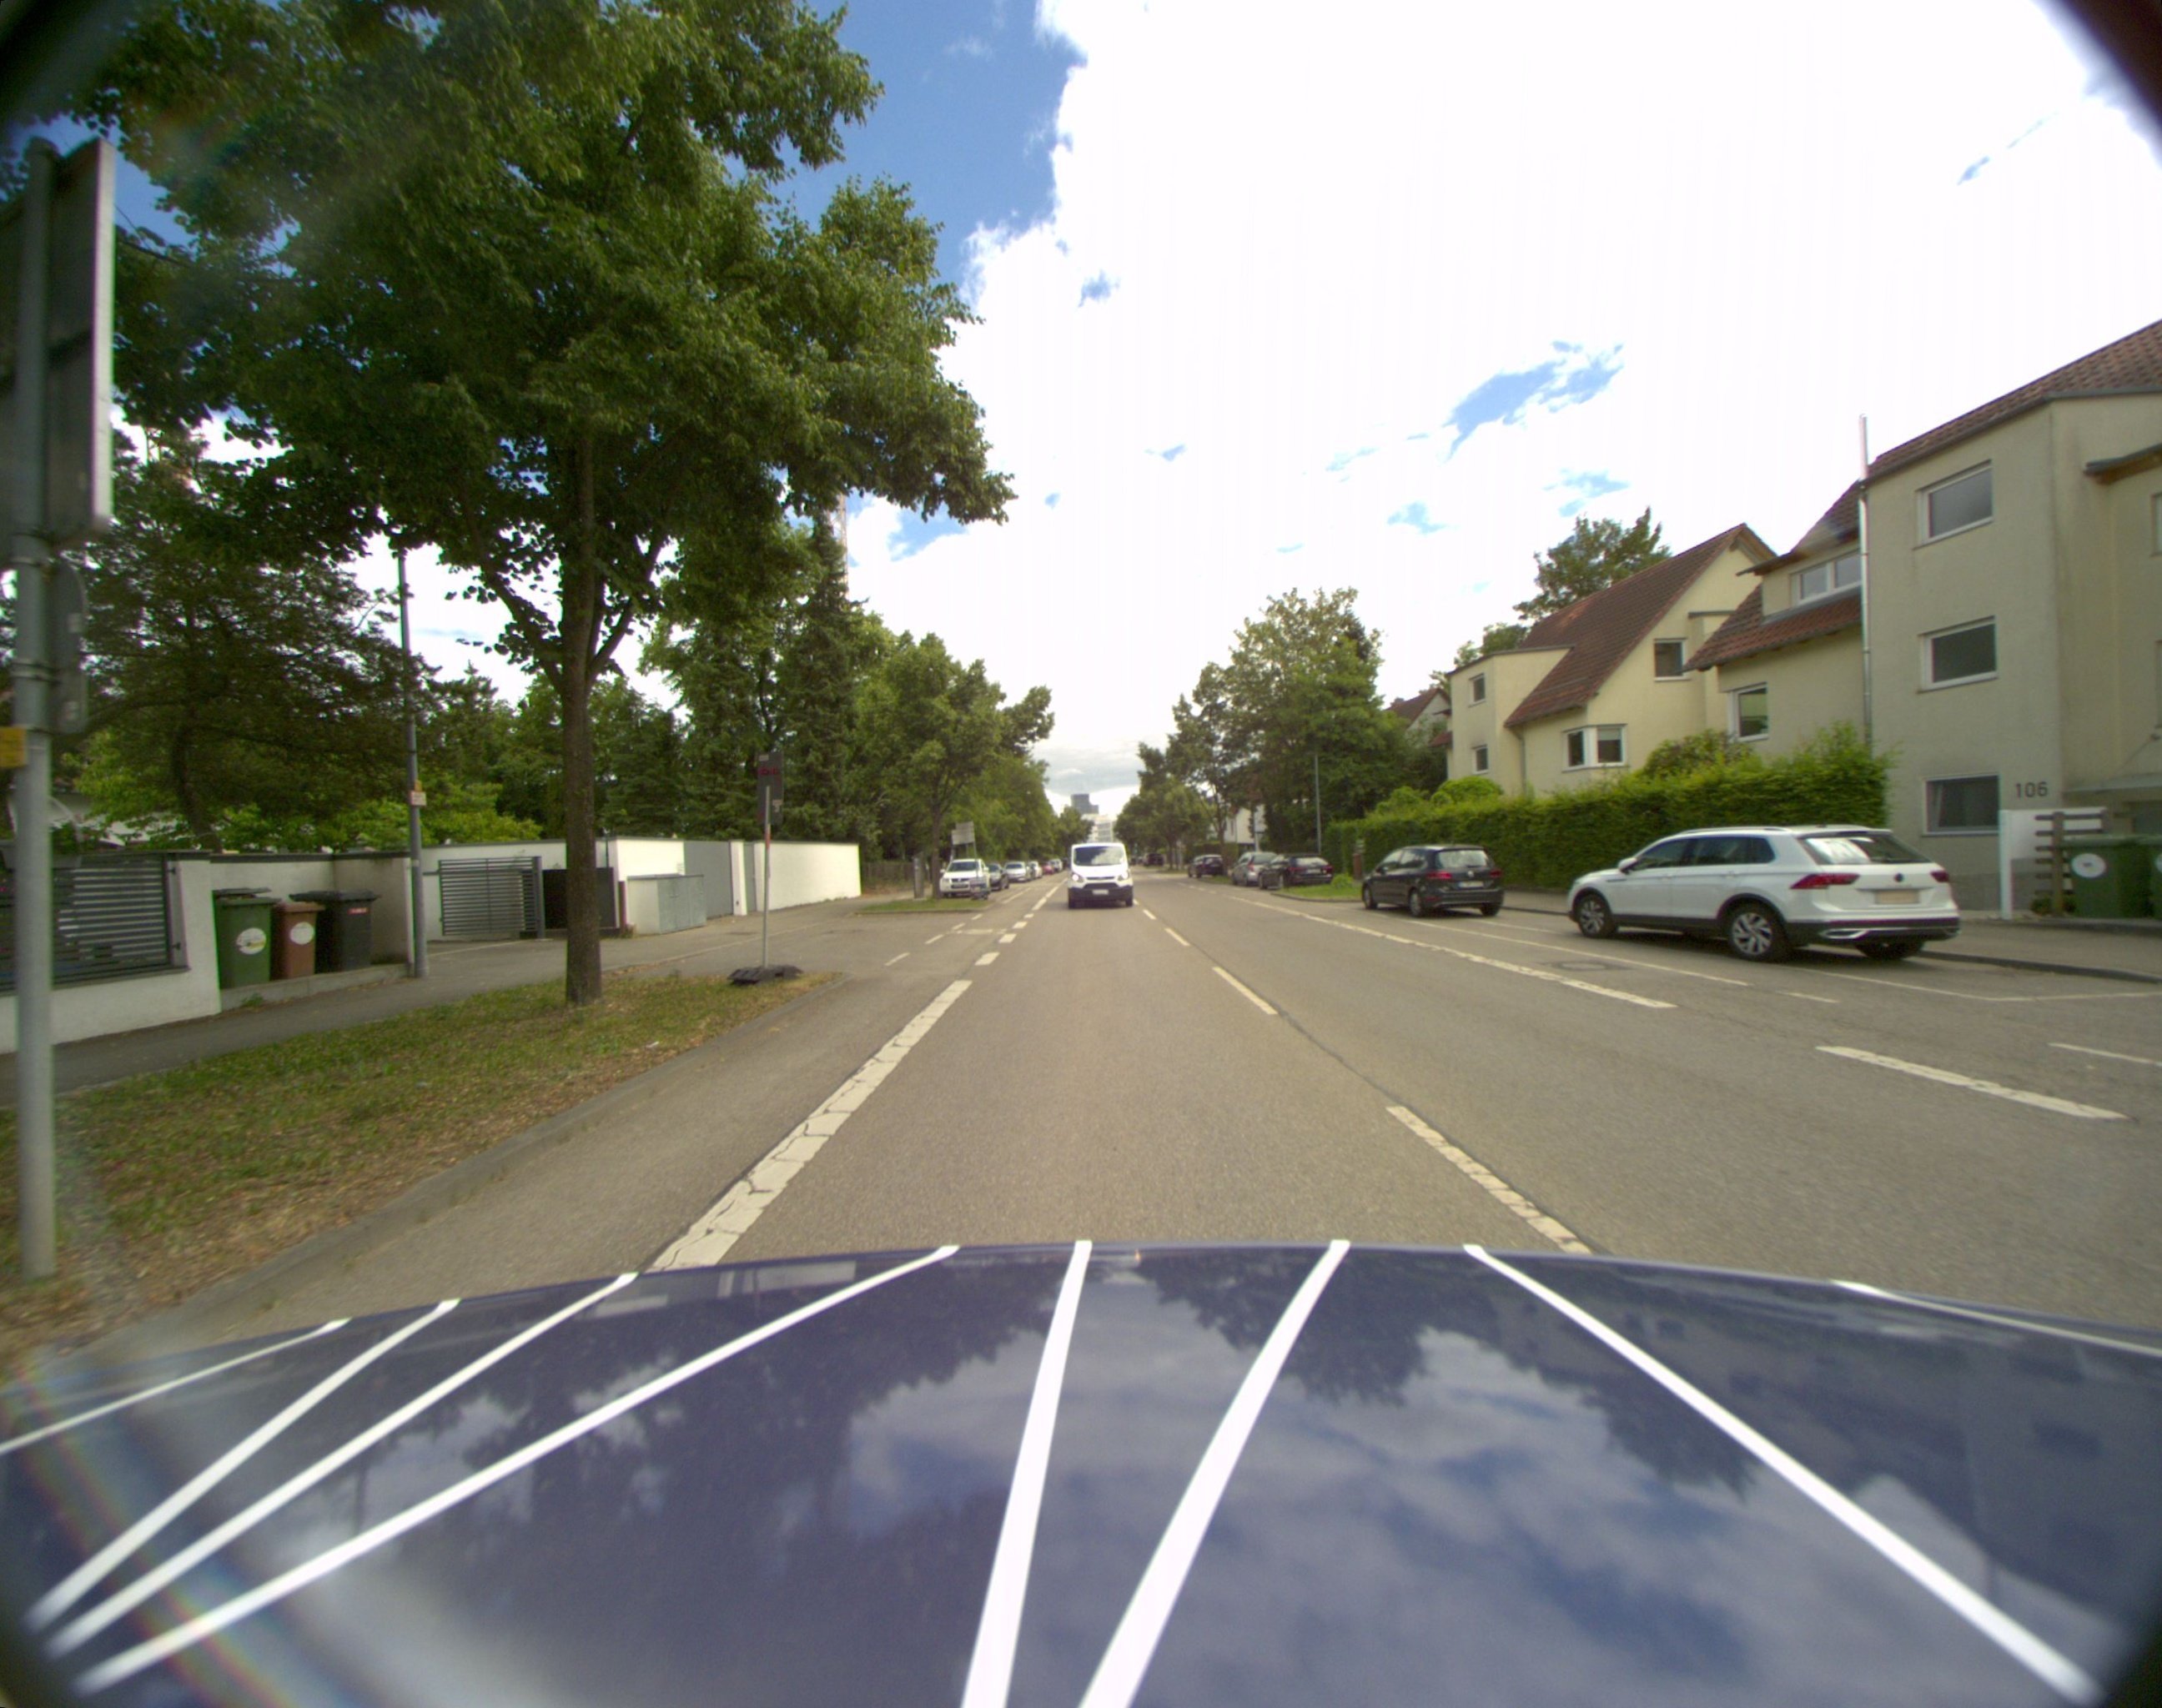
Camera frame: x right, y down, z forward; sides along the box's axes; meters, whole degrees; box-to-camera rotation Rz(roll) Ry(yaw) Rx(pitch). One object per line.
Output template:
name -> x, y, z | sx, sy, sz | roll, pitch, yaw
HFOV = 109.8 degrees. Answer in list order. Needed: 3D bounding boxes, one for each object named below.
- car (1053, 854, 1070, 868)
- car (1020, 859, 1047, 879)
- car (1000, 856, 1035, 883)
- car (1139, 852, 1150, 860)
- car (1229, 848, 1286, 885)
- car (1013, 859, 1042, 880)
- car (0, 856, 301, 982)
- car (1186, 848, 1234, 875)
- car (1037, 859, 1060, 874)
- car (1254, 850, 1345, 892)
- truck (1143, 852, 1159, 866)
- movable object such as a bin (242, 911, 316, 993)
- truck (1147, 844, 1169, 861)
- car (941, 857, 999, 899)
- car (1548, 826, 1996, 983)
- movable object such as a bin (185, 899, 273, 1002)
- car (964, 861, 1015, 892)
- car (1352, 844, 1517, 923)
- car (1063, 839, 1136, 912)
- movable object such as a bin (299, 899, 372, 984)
car -> -2.762, 0.987, 107.054 | 1.998, 1.805, 4.827 | -3, 1, 3
car -> -3.994, 1.285, 64.738 | 1.772, 1.501, 4.031 | -2, 1, 3
car -> -4.419, 1.042, 53.165 | 1.866, 1.602, 4.686 | -3, 1, 1
car -> 11.335, 0.299, 135.411 | 1.750, 1.400, 4.927 | -1, 0, 2
car -> 8.232, 0.540, 35.794 | 1.722, 1.604, 3.910 | -2, 0, 0
car -> -4.163, 1.184, 59.392 | 1.706, 1.501, 4.538 | -3, 0, 2
car -> -17.584, 1.108, 13.336 | 5.199, 1.893, 2.047 | -2, 1, -7
car -> 8.387, 0.497, 49.840 | 2.100, 1.637, 5.037 | -1, 0, -2
car -> -3.371, 1.272, 79.527 | 1.863, 1.405, 4.444 | -4, -1, 3
car -> 8.537, 0.604, 30.245 | 1.999, 1.476, 4.889 | -1, 0, -3
truck -> 9.761, 0.627, 106.753 | 1.971, 1.857, 5.665 | -1, 0, 3
movable object such as a bin -> -9.619, 1.166, 9.121 | 0.437, 0.915, 0.395 | -2, 1, 1
truck -> 10.009, -0.175, 99.196 | 2.429, 2.031, 5.995 | -2, 0, 2
car -> -4.876, 1.024, 33.894 | 1.905, 1.633, 4.116 | -2, 1, 0
car -> 8.838, 0.536, 10.442 | 1.825, 1.624, 4.585 | -2, 0, -3
movable object such as a bin -> -9.620, 1.076, 8.588 | 0.437, 1.103, 0.454 | -2, 1, 1
car -> -4.715, 1.122, 39.753 | 1.868, 1.408, 4.603 | -2, 0, 3
car -> 7.913, 0.598, 17.508 | 1.681, 1.543, 4.271 | -2, 0, -1
car -> 0.658, 0.591, 24.724 | 1.998, 2.002, 5.189 | -4, 1, 3
movable object such as a bin -> -9.502, 1.100, 9.691 | 0.437, 1.016, 0.454 | -2, 1, 1
